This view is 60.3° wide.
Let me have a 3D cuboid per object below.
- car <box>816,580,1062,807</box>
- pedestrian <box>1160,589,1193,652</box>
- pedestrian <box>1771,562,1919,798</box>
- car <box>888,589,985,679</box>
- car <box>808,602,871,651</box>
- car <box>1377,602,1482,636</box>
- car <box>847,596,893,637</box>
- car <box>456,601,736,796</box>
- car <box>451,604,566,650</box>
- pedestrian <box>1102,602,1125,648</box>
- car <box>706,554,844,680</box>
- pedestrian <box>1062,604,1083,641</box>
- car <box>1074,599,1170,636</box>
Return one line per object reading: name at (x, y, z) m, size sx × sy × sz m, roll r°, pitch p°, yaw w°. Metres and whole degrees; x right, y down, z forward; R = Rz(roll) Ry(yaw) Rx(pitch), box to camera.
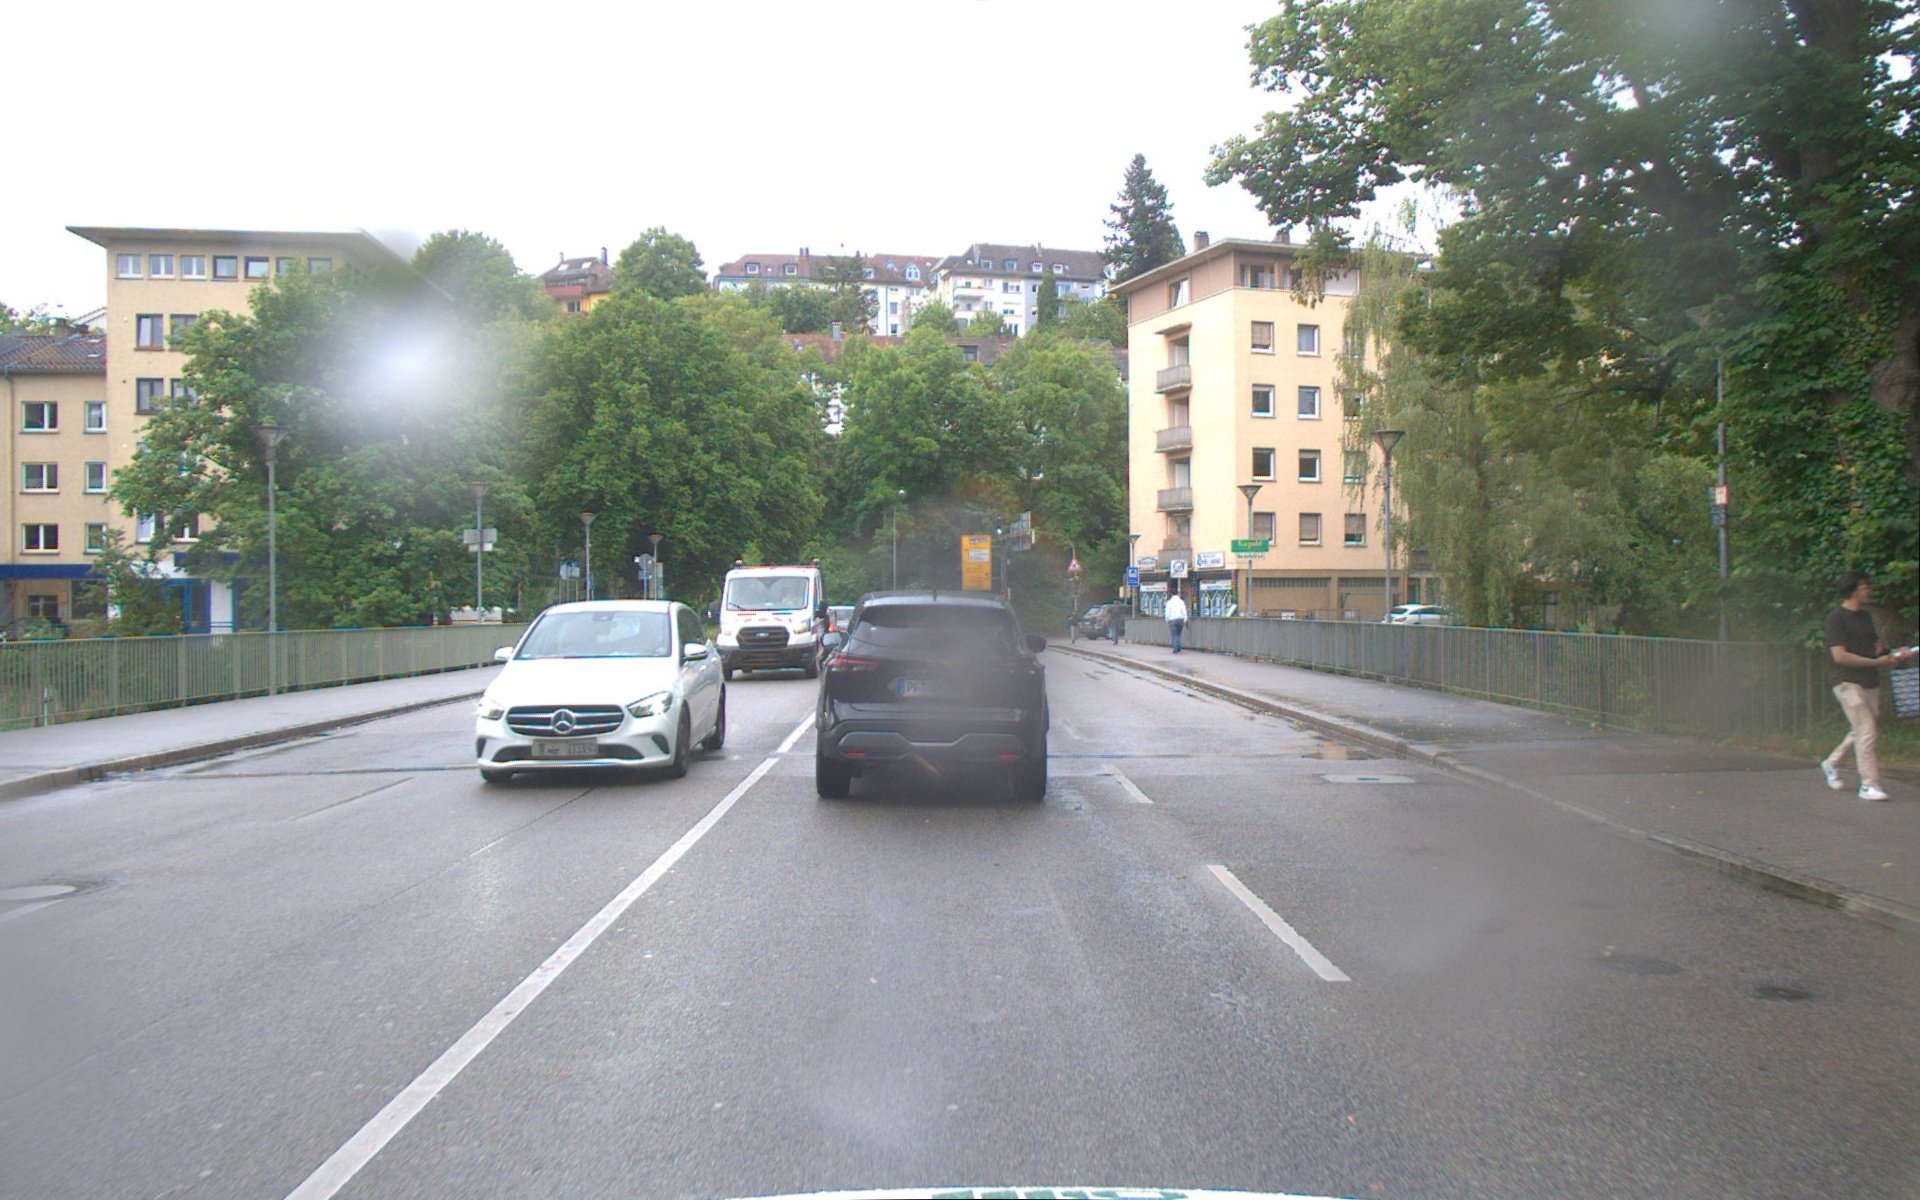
car at (-0.180, 0.679, 14.033) m, size 1.774 × 1.631 × 3.999 m, roll 1°, pitch 0°, yaw -1°
pedestrian at (6.241, 0.598, 47.729) m, size 0.764 × 1.783 × 1.060 m, roll -1°, pitch -1°, yaw -1°
pedestrian at (6.985, 0.585, 12.726) m, size 0.830 × 1.705 × 1.167 m, roll -2°, pitch -1°, yaw -1°
car at (-0.472, 0.630, 32.619) m, size 1.774 × 1.631 × 3.999 m, roll 1°, pitch 0°, yaw -1°
car at (-3.768, 0.810, 52.171) m, size 1.710 × 1.464 × 3.999 m, roll -1°, pitch 0°, yaw -1°
car at (21.492, 0.857, 75.765) m, size 4.369 × 1.400 × 1.808 m, roll -1°, pitch 2°, yaw -18°
car at (-4.081, 0.723, 75.815) m, size 1.850 × 1.765 × 4.370 m, roll -2°, pitch 0°, yaw -1°
car at (-3.248, 0.802, 15.560) m, size 1.745 × 1.500 × 4.166 m, roll -2°, pitch 0°, yaw -1°
car at (-19.664, 1.165, 72.171) m, size 4.655 × 1.886 × 1.996 m, roll 0°, pitch 1°, yaw -10°
pedestrian at (5.858, 0.961, 63.031) m, size 0.745 × 1.706 × 0.781 m, roll -2°, pitch 0°, yaw -1°
car at (-3.752, 0.298, 34.842) m, size 2.243 × 2.349 × 6.507 m, roll -2°, pitch 0°, yaw -1°
pedestrian at (5.055, 1.008, 74.428) m, size 0.845 × 1.647 × 0.839 m, roll -2°, pitch -1°, yaw -1°
car at (7.887, 0.851, 80.537) m, size 4.314 × 1.678 × 1.867 m, roll -1°, pitch -1°, yaw -27°
